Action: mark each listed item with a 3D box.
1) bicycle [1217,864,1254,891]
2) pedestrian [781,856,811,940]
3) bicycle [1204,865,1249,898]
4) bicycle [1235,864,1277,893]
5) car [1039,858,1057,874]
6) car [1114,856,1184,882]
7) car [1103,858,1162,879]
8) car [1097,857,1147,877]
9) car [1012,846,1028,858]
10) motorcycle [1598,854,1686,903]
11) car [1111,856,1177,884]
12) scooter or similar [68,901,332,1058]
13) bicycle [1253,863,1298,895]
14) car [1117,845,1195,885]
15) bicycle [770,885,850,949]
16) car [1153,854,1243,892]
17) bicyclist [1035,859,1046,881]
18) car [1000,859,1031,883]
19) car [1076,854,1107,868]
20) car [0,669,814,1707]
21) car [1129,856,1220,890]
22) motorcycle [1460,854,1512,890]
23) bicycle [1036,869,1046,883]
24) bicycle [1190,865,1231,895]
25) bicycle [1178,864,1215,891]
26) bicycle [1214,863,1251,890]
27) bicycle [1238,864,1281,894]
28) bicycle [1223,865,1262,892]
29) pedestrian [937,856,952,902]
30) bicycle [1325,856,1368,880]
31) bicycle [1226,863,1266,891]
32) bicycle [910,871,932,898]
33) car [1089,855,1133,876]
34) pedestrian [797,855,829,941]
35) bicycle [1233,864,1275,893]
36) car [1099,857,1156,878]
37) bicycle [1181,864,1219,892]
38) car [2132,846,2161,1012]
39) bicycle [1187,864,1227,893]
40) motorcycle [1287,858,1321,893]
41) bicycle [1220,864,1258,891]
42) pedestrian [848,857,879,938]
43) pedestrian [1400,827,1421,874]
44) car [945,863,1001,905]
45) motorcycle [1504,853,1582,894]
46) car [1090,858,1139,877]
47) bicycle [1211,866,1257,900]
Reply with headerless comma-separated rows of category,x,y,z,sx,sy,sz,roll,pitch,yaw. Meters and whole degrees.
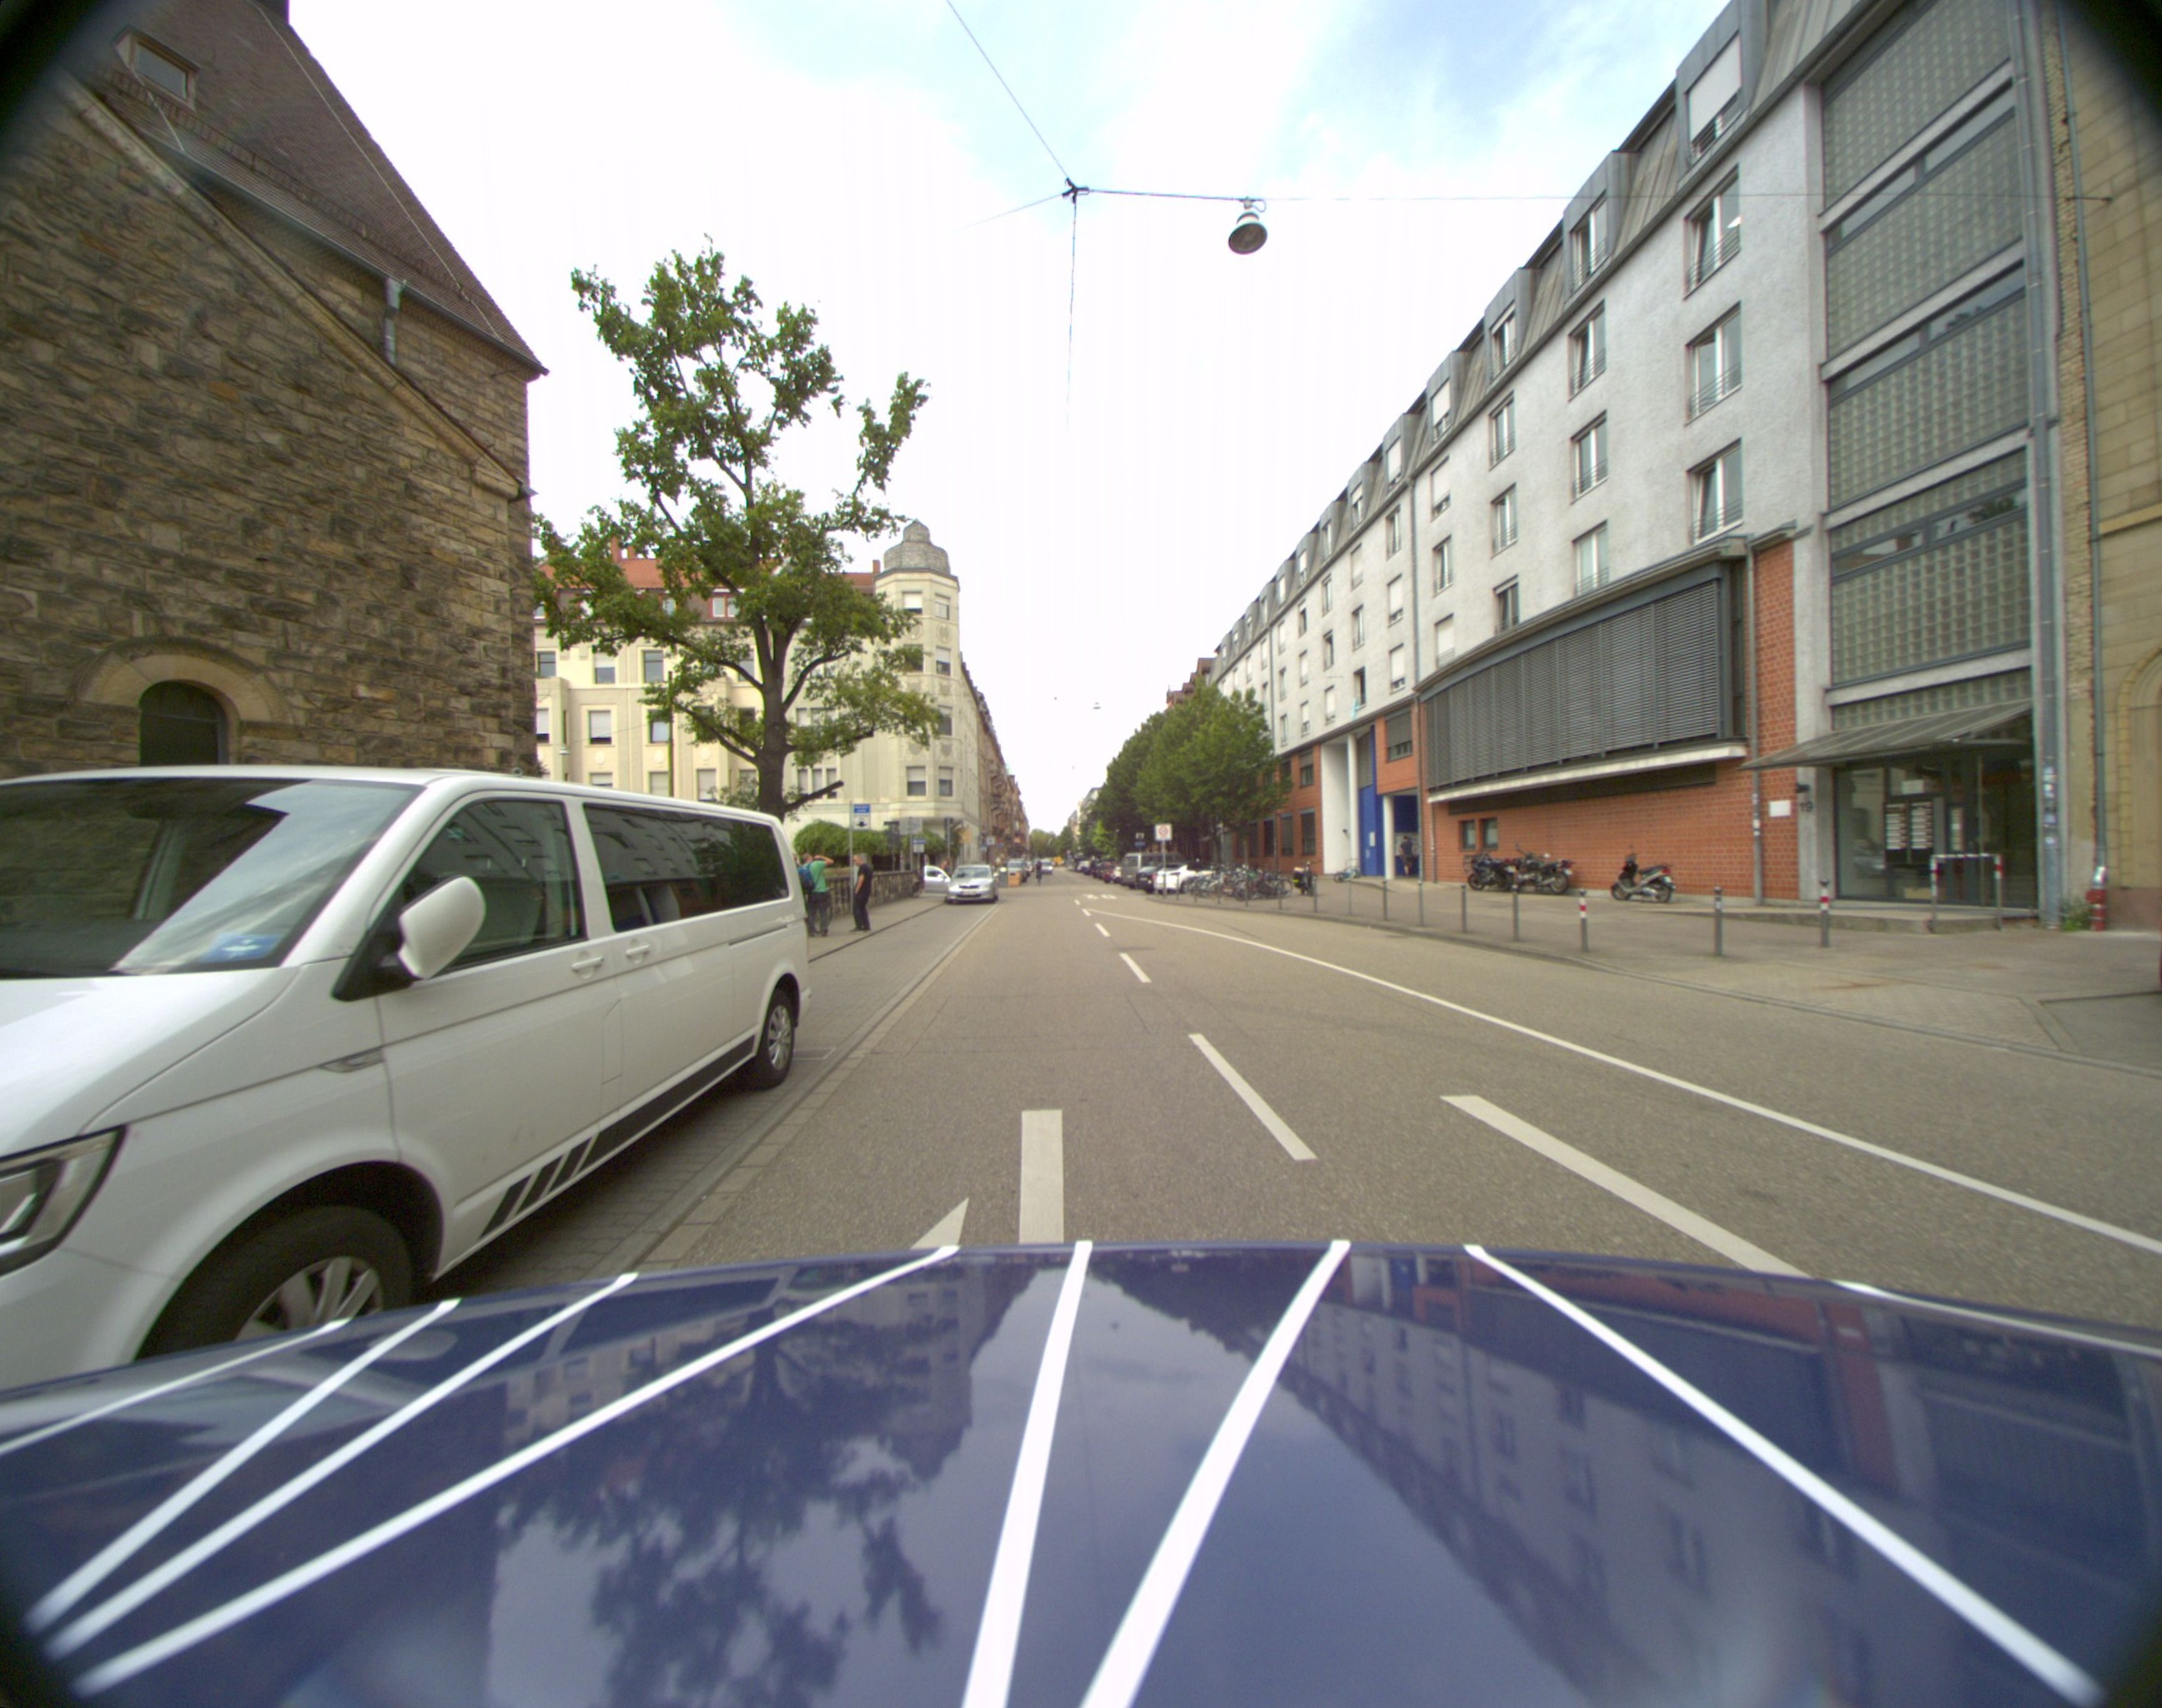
bicycle,6.267,0.955,30.830,1.409,1.020,0.402,-2,0,-1
pedestrian,-6.018,0.915,16.026,0.510,1.709,0.530,-2,0,-24
bicycle,5.074,0.961,26.535,1.409,1.032,0.402,-4,0,-1
bicycle,6.380,0.897,27.759,1.409,1.020,0.402,-2,0,-1
car,-4.105,1.491,94.990,1.942,1.913,4.007,-2,-1,1
car,4.072,0.895,45.351,4.013,1.438,1.621,-1,-1,-36
car,3.649,1.019,53.616,4.013,1.381,1.592,-1,-1,-36
car,3.466,1.130,64.179,4.013,1.558,1.687,-1,-1,-36
car,-8.150,-0.306,102.292,1.854,1.505,4.006,-2,-1,-1
motorcycle,12.736,0.537,17.315,0.585,1.042,1.793,-3,0,-2
car,4.004,0.988,48.112,4.013,1.605,1.708,-1,-1,-36
scooter or similar,-8.051,1.083,7.036,0.545,1.200,1.483,-1,0,17
bicycle,6.647,0.861,25.991,1.409,1.020,0.402,-2,0,-1
car,4.230,0.611,42.549,4.012,1.986,1.857,-3,1,-33
bicycle,-5.443,1.241,15.347,0.533,1.143,1.755,-1,0,18
car,5.319,0.824,34.331,4.013,1.536,1.598,-1,0,-36
bicyclist,-2.725,1.082,51.316,0.649,1.408,1.094,-1,0,-2
car,-4.857,1.245,57.140,1.854,1.661,4.007,-2,-1,1
car,1.422,0.992,104.123,4.013,1.746,1.687,-1,-1,-36
car,-2.897,0.686,3.226,2.020,2.017,5.120,0,1,-4
car,4.570,0.905,36.806,4.324,1.460,1.713,-1,0,-36
motorcycle,12.450,0.551,23.428,0.585,1.042,1.656,-3,0,-4
bicycle,-2.711,1.457,51.240,0.586,0.927,1.783,-2,-1,-2
bicycle,4.860,0.958,28.528,1.409,1.032,0.402,-4,0,-1
bicycle,4.743,0.964,31.248,1.409,1.020,0.402,-4,0,-1
bicycle,6.241,0.919,31.305,1.409,1.020,0.402,-2,0,-1
bicycle,6.382,0.889,27.223,1.409,1.020,0.402,-2,0,-1
bicycle,6.273,0.946,29.545,1.409,1.020,0.402,-2,0,-1
pedestrian,-5.175,0.941,28.835,0.469,1.725,0.410,-1,0,-3
bicycle,12.001,0.628,34.443,1.614,0.920,0.932,-7,-1,9
bicycle,6.295,0.875,29.059,1.409,1.020,0.402,-2,0,-1
bicycle,-6.734,1.264,32.048,0.523,1.099,1.978,-1,-1,-2
car,2.893,1.093,72.930,4.052,1.846,1.687,-1,-1,-36
pedestrian,-5.460,0.881,15.466,0.532,1.709,0.508,-2,0,-25
bicycle,6.422,0.902,28.247,1.409,1.020,0.402,-2,0,-1
car,3.430,0.996,55.821,4.013,1.445,1.687,-1,-1,-36
bicycle,4.775,0.944,30.441,1.409,1.020,0.402,-4,0,-1
car,9.132,0.716,5.133,4.679,1.401,1.895,-4,0,-41
bicycle,4.824,0.933,29.169,1.409,1.020,0.402,-4,0,-1
motorcycle,7.756,0.725,26.494,0.585,1.166,1.779,-3,0,-1
bicycle,6.274,0.939,30.239,1.409,1.020,0.402,-2,0,-1
pedestrian,-4.685,0.924,16.356,0.510,1.709,0.530,-2,0,-25
pedestrian,14.220,-0.133,32.834,0.729,2.002,0.783,-1,0,17
car,-4.030,1.094,29.048,1.760,1.459,4.417,-1,0,-4
motorcycle,12.750,0.525,21.022,0.585,1.042,1.965,-3,0,-14
car,2.939,1.180,66.599,4.013,1.558,1.687,-1,-1,-36
bicycle,5.145,0.970,25.646,1.409,1.032,0.402,-4,0,-1
